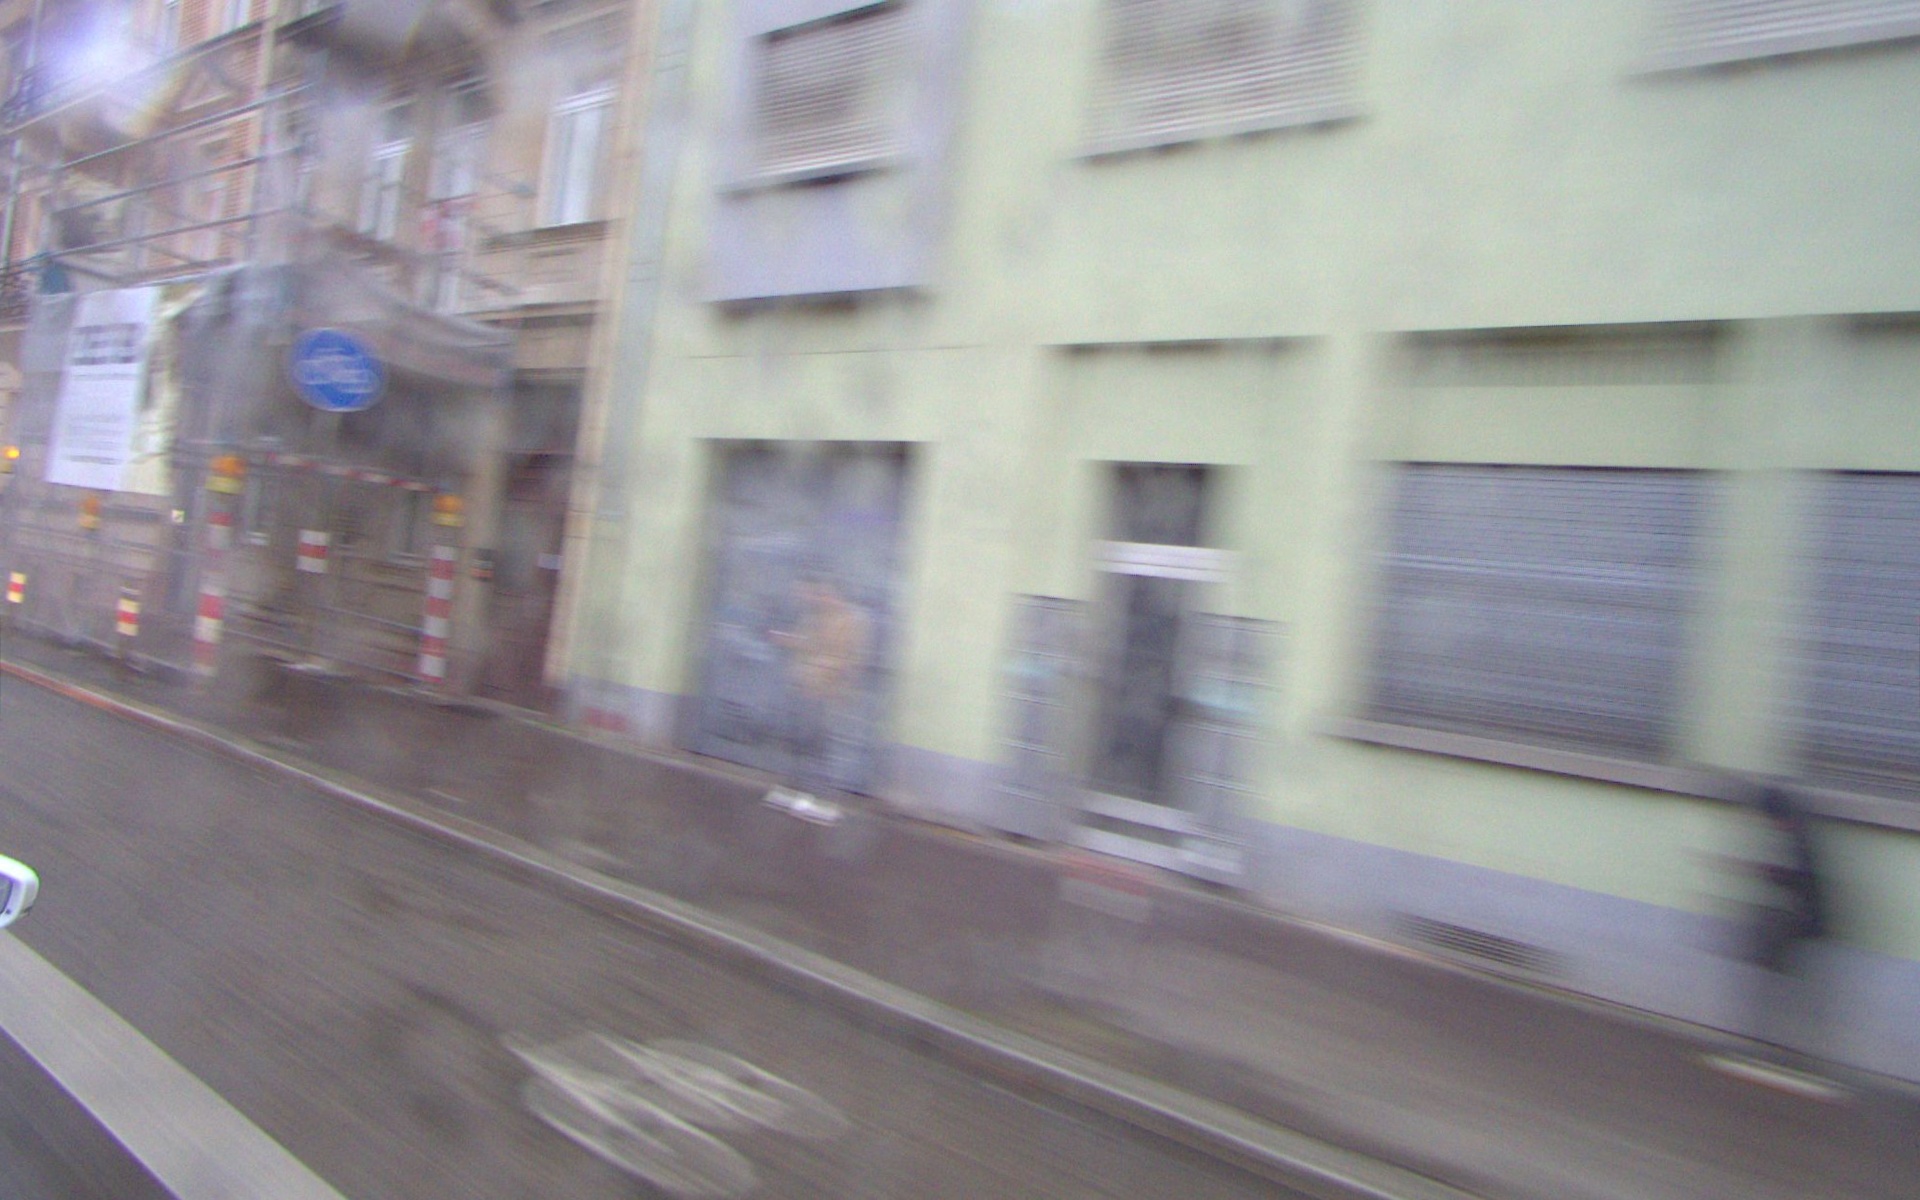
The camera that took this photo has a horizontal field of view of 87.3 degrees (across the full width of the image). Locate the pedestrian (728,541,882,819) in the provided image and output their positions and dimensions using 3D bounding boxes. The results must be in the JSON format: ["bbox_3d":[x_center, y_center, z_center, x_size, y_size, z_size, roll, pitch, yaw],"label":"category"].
[{"bbox_3d":[-1.100,0.565,7.289,0.761,1.839,0.601,7,-1,4],"label":"pedestrian"}]

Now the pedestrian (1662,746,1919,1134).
[{"bbox_3d":[3.597,1.393,4.383,0.716,1.392,0.601,6,-2,31],"label":"pedestrian"}]
